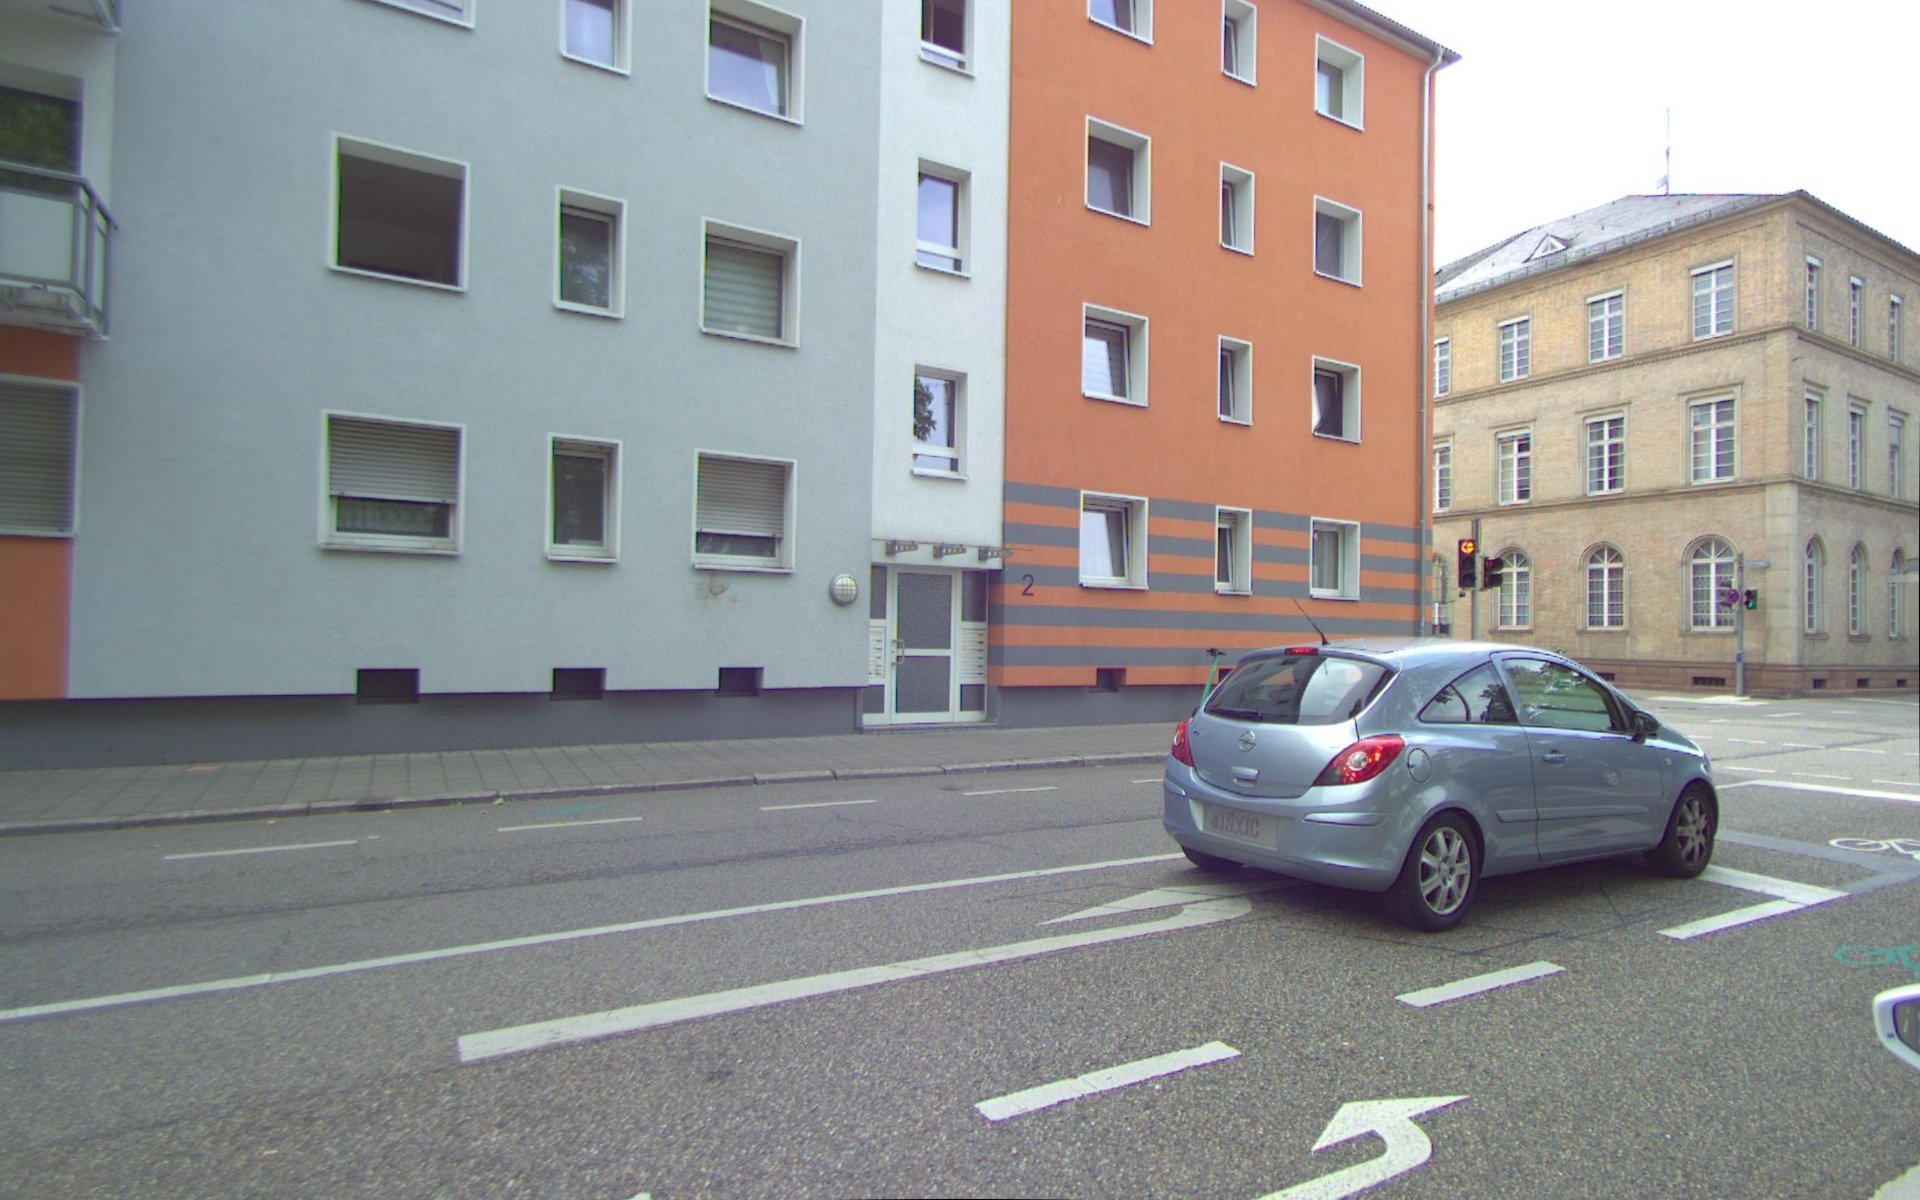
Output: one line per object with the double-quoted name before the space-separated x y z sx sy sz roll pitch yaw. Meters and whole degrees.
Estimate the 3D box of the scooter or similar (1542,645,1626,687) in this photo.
"scooter or similar" 19.749 2.068 31.878 0.552 1.180 2.363 2 0 -23

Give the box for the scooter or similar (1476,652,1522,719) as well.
"scooter or similar" 10.131 1.588 18.854 1.333 1.194 0.326 2 0 -43

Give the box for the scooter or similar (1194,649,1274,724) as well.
"scooter or similar" 4.349 1.355 15.916 1.338 1.139 0.367 2 0 -29

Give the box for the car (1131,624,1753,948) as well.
"car" 3.059 0.911 6.222 3.775 1.457 1.661 2 -2 -30

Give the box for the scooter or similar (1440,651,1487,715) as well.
"scooter or similar" 9.672 1.576 19.272 1.344 1.173 0.326 2 0 -43
